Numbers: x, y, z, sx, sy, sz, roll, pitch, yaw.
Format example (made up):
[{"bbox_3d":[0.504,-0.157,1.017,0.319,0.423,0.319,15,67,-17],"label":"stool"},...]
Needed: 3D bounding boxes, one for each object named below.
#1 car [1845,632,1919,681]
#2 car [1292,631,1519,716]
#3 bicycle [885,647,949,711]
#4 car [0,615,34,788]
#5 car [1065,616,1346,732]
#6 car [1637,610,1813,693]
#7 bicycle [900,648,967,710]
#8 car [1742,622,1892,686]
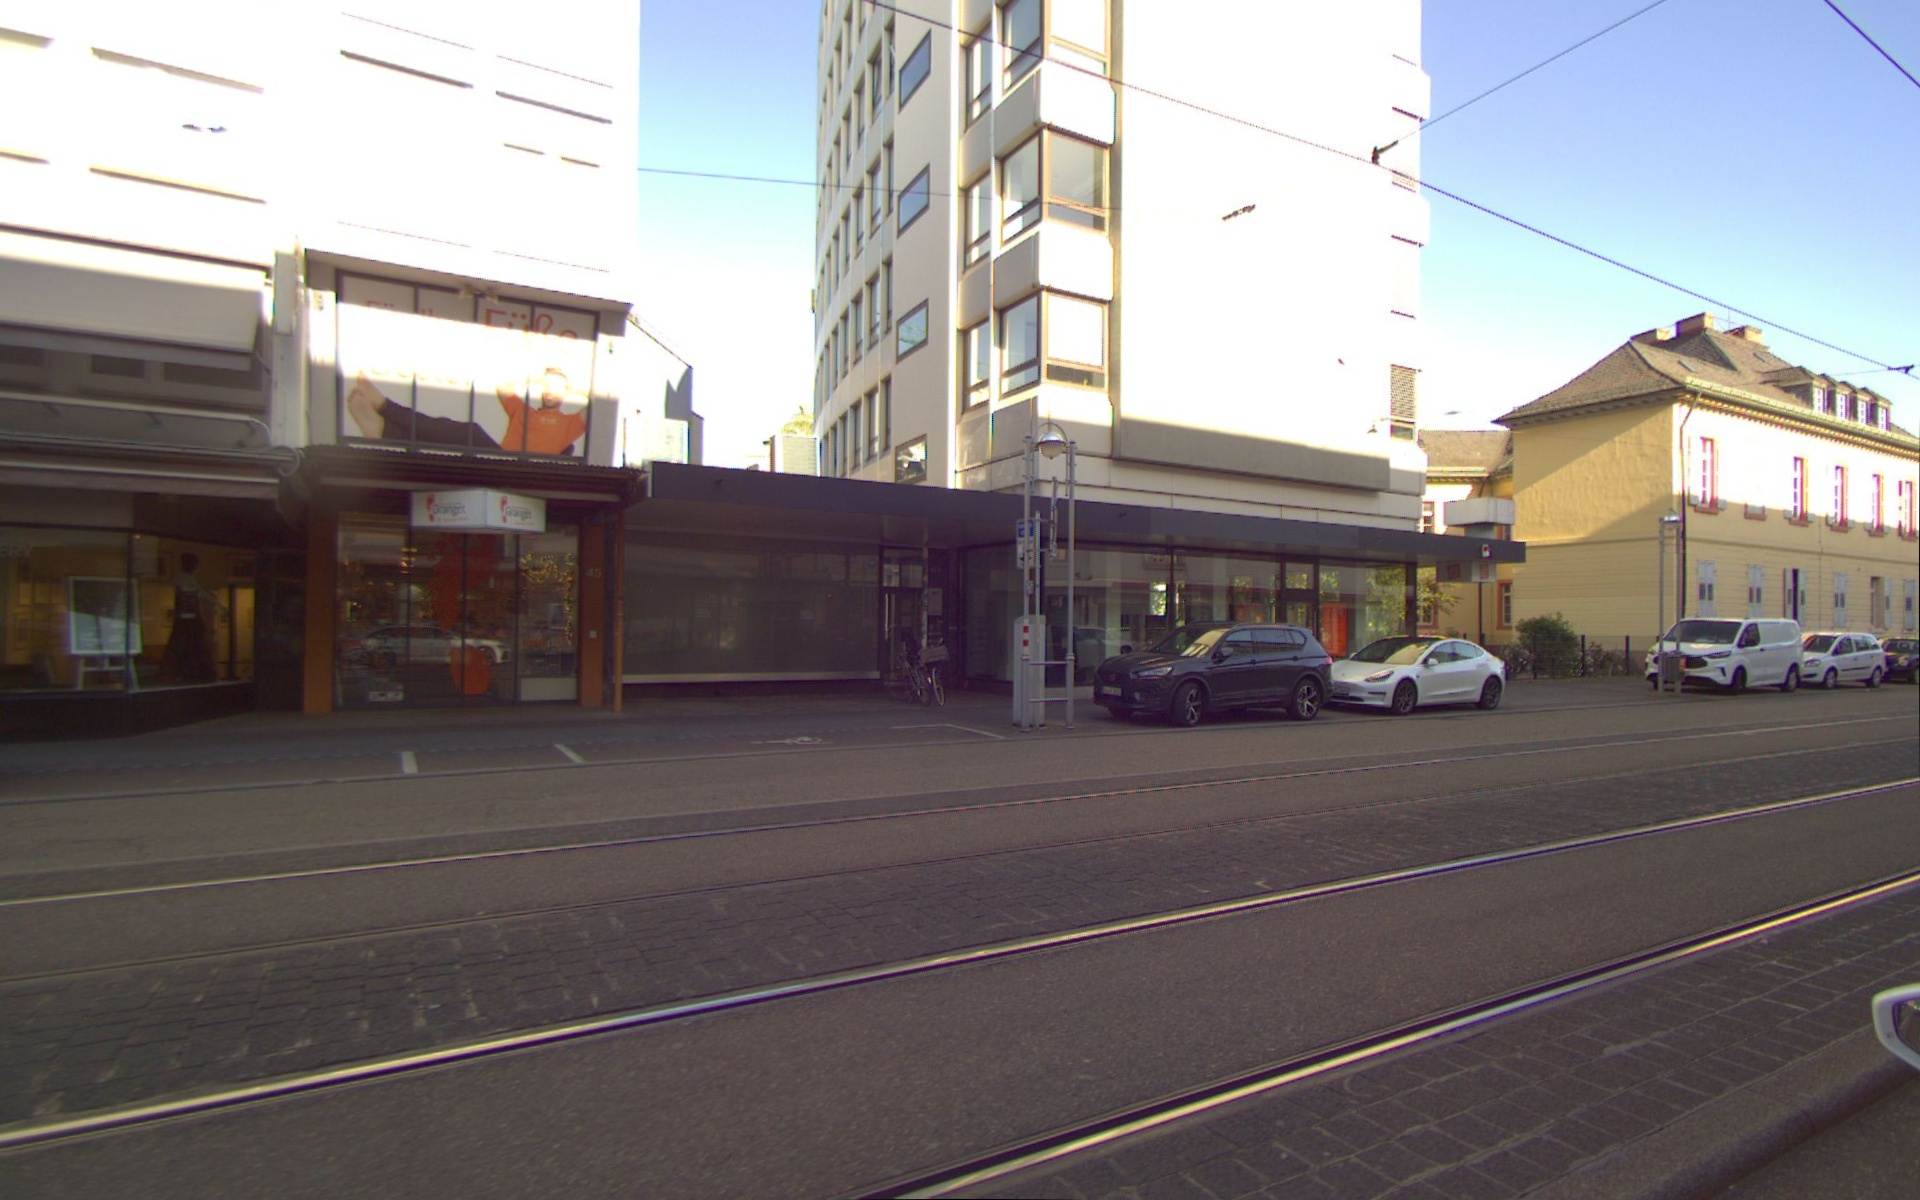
[{"bbox_3d":[30.544,1.816,32.664,3.677,1.419,1.606,2,0,-31],"label":"car"},{"bbox_3d":[8.989,1.413,20.156,4.604,1.440,1.878,2,0,-32],"label":"car"},{"bbox_3d":[-0.833,1.453,18.823,0.376,1.012,1.928,2,0,-28],"label":"bicycle"},{"bbox_3d":[-10.406,0.895,8.469,3.551,1.544,1.591,2,1,-33],"label":"car"},{"bbox_3d":[4.272,1.198,17.298,4.600,1.701,1.969,2,0,-30],"label":"car"},{"bbox_3d":[20.555,1.351,26.943,5.038,2.001,1.983,2,0,-31],"label":"car"},{"bbox_3d":[-0.524,1.477,19.132,0.418,1.012,1.928,2,0,-28],"label":"bicycle"},{"bbox_3d":[25.514,1.580,29.883,4.590,1.708,1.800,2,0,-28],"label":"car"}]
